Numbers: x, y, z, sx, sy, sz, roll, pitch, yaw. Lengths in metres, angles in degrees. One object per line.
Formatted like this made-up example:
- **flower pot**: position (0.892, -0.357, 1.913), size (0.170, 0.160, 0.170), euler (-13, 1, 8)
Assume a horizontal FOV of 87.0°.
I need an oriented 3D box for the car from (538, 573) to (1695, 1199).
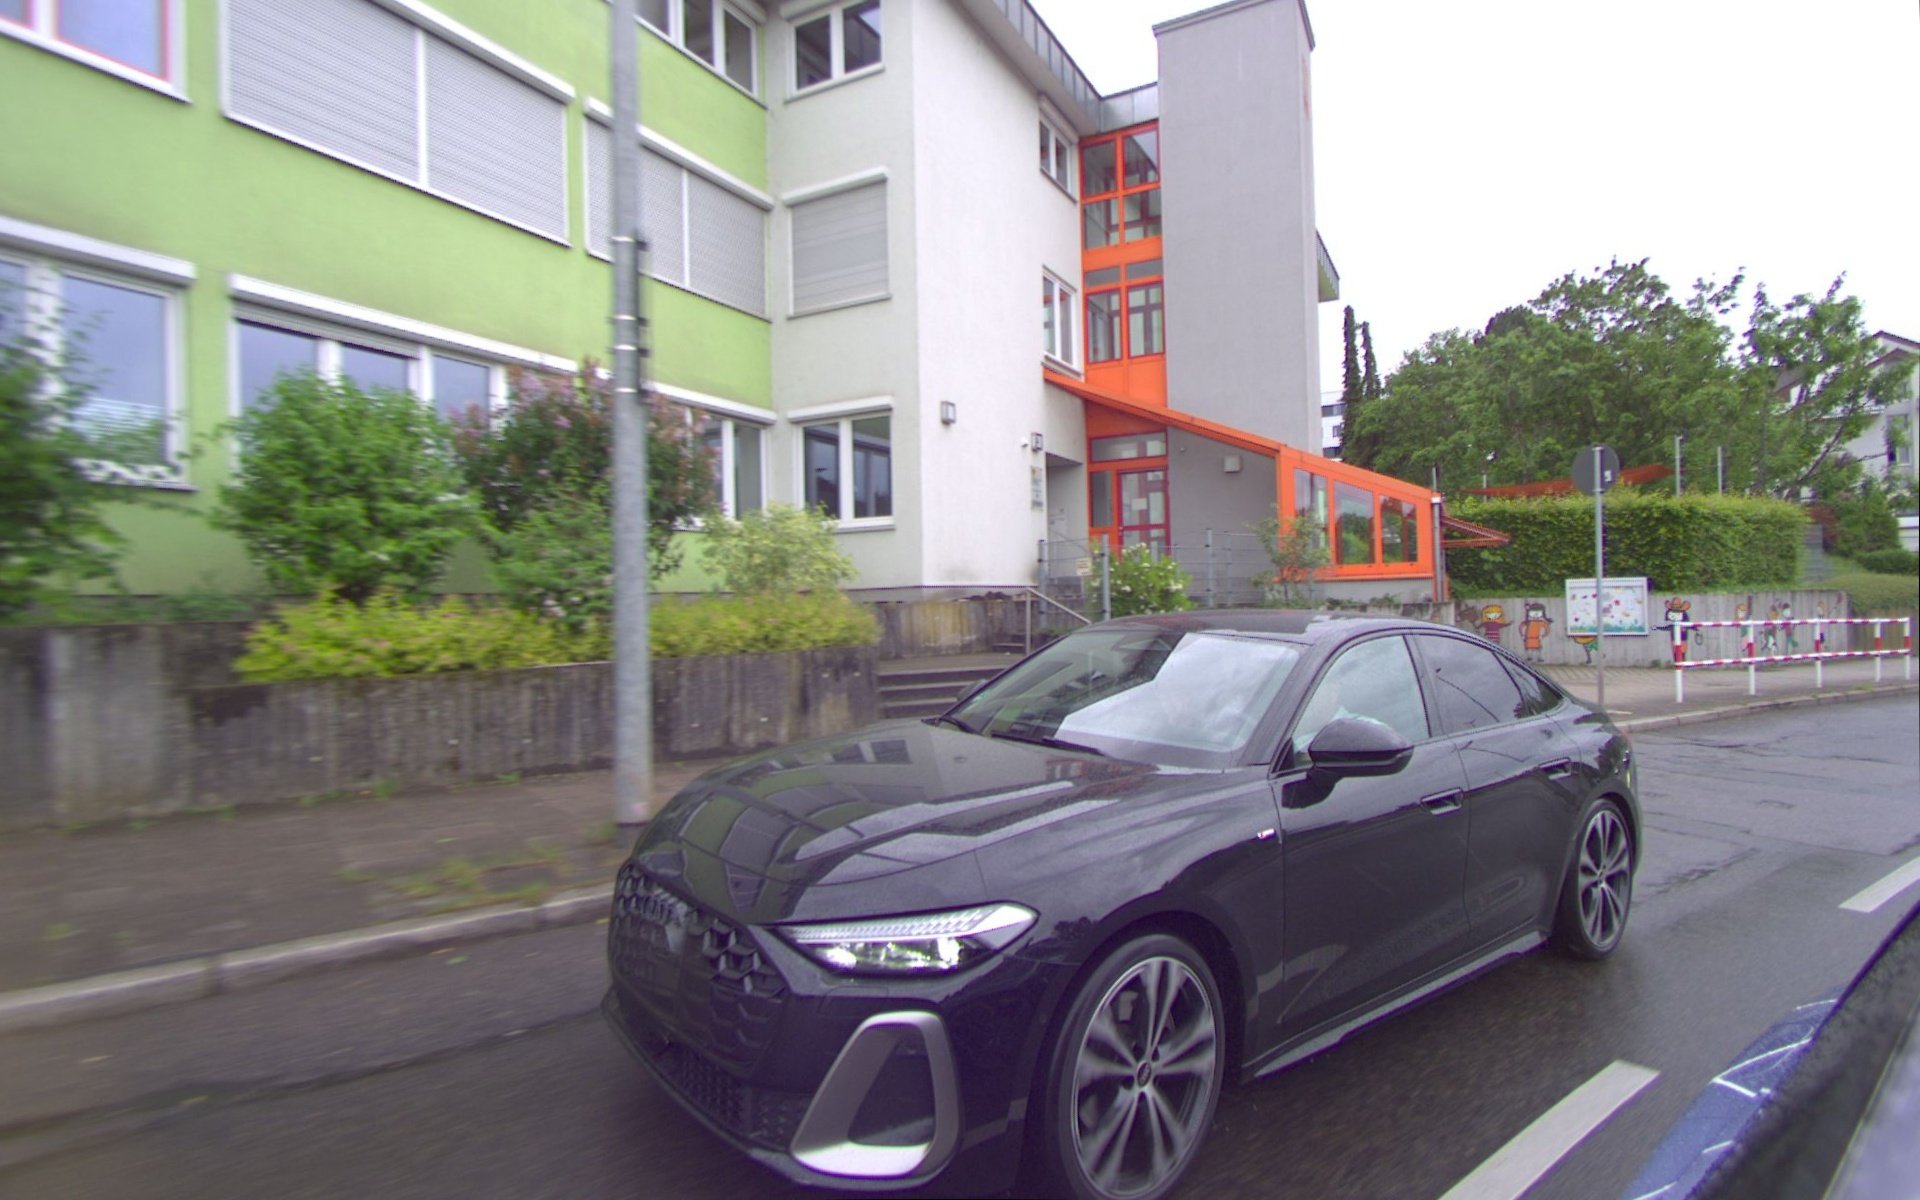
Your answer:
- **car**: position (1.054, 0.695, 3.991), size (4.656, 1.442, 1.870), euler (-3, 1, -40)
